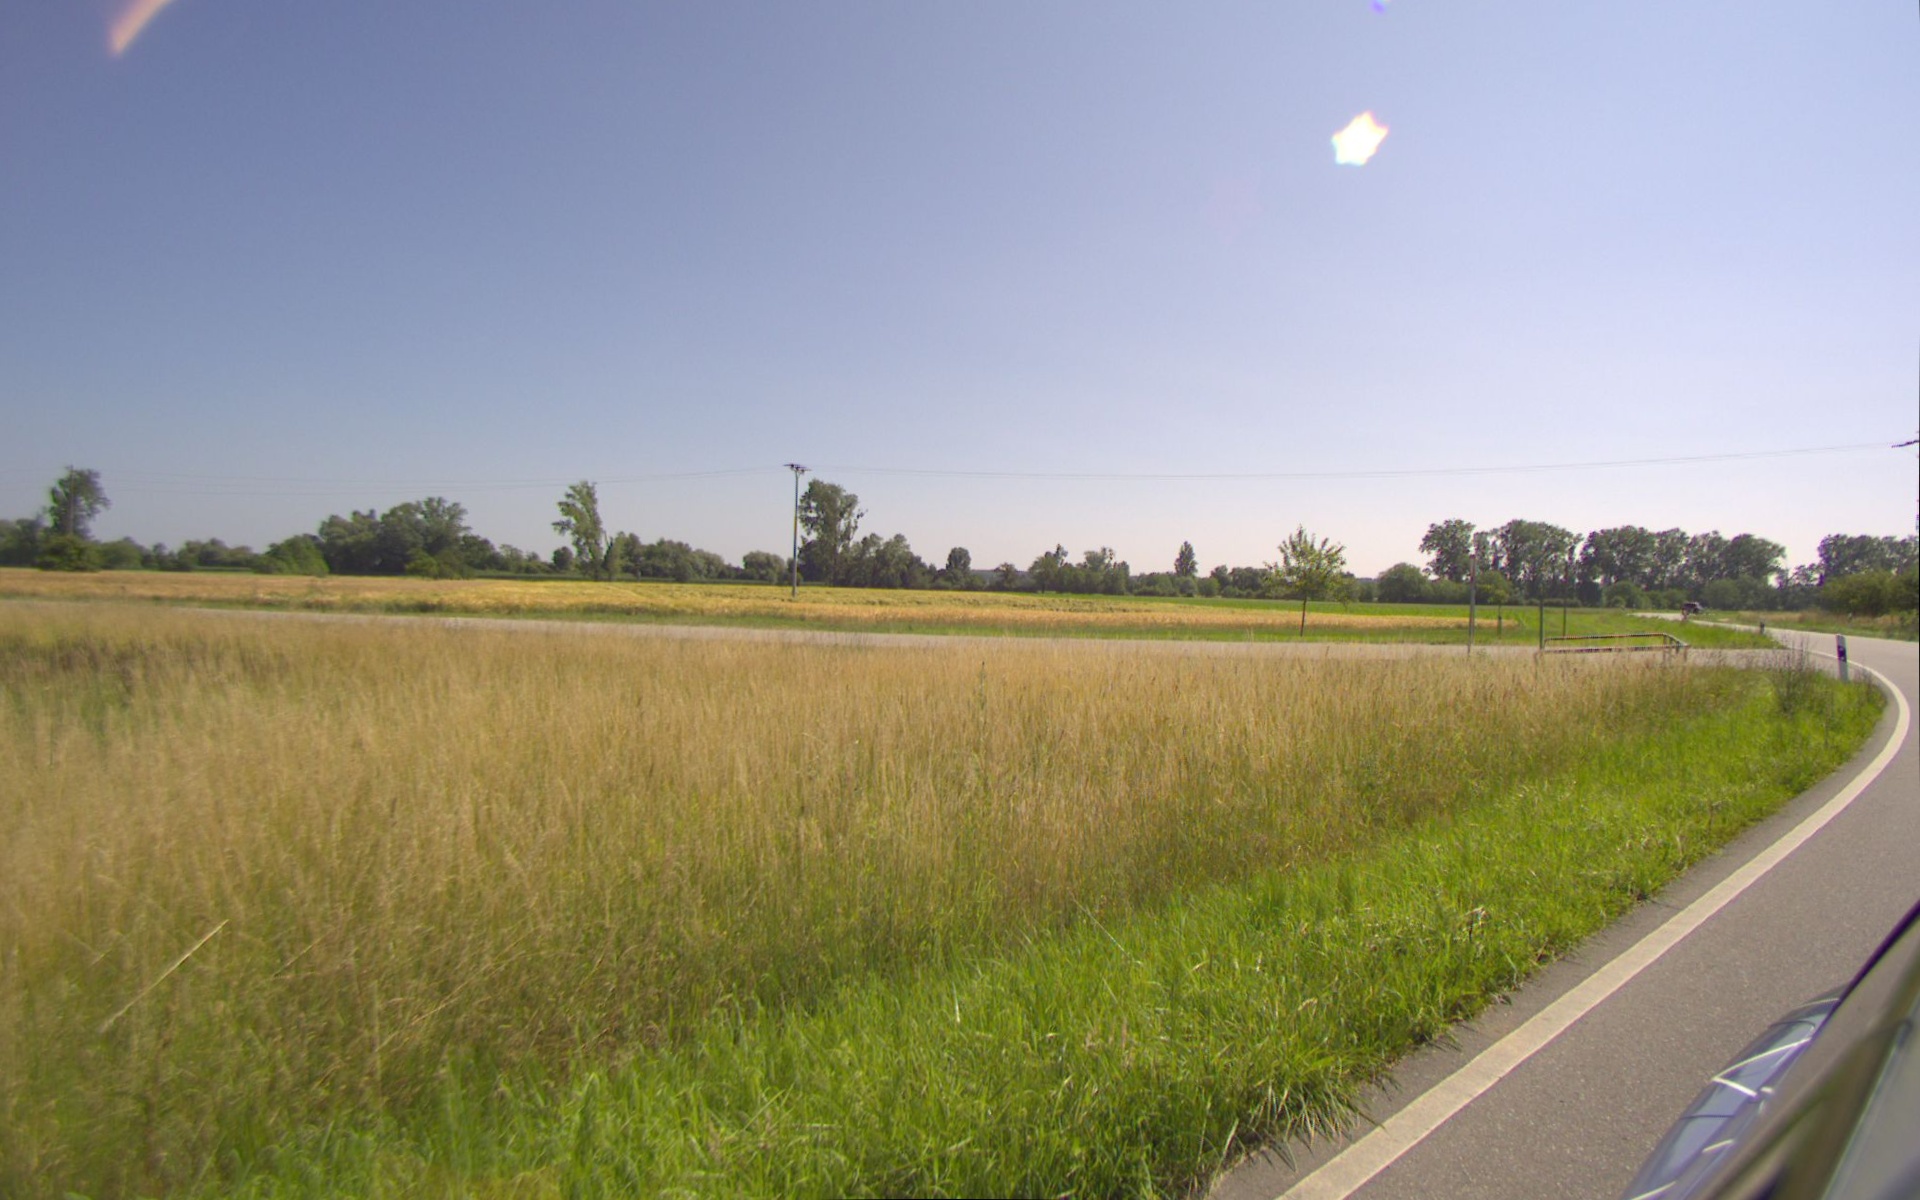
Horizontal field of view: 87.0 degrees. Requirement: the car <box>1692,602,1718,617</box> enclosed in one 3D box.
[{"bbox_3d":[98.597,1.253,133.893,4.222,1.774,1.869,1,1,-42],"label":"car"}]
